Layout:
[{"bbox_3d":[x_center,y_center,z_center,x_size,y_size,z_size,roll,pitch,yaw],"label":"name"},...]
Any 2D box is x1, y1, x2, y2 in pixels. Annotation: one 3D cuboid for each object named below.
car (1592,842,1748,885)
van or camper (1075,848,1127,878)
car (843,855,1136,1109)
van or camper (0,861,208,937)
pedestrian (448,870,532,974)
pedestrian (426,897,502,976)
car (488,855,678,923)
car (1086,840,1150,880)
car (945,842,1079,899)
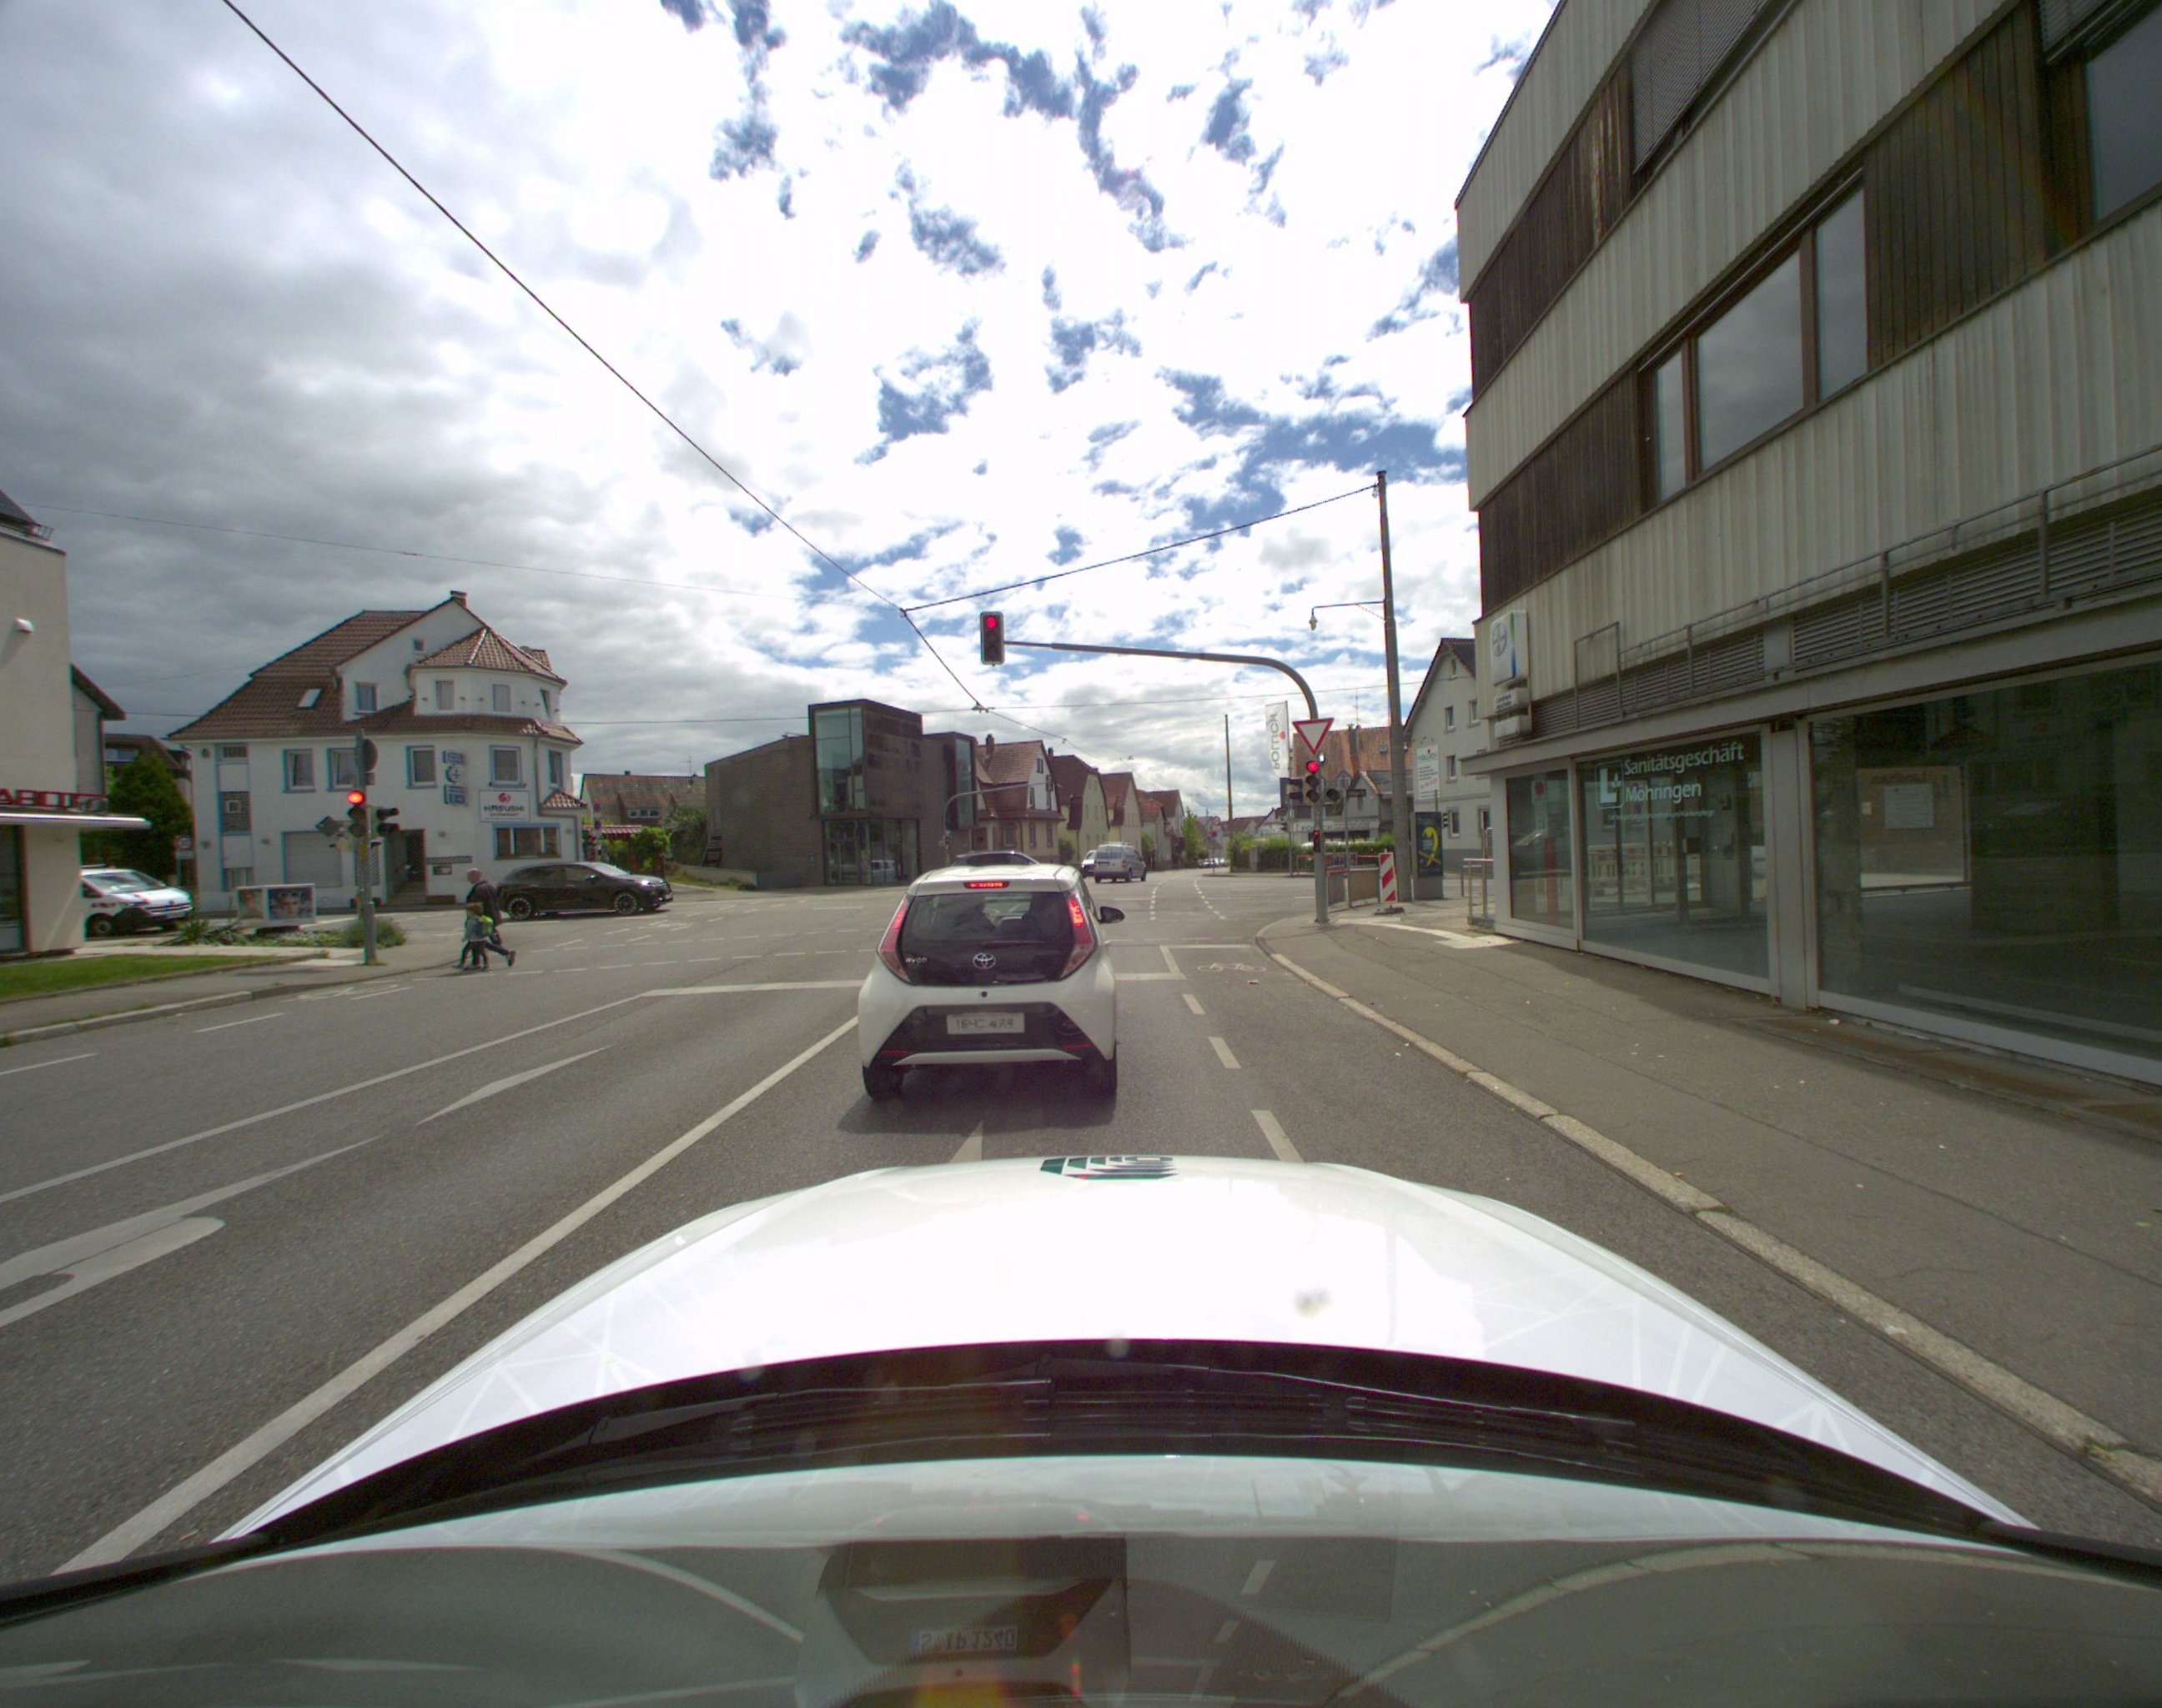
[{"bbox_3d":[23.069,0.350,32.000,4.891,1.577,1.996,-1,0,-6],"label":"car"},{"bbox_3d":[1.405,0.570,53.764,2.099,1.926,5.309,-1,0,17],"label":"van or camper"},{"bbox_3d":[-0.536,0.754,6.456,1.692,1.456,3.298,-1,0,0],"label":"car"},{"bbox_3d":[-29.384,1.266,23.818,5.113,2.077,1.995,0,0,-8],"label":"van or camper"},{"bbox_3d":[-10.340,1.168,14.276,0.820,1.721,0.816,-2,0,-4],"label":"pedestrian"},{"bbox_3d":[-10.244,1.358,13.541,0.732,1.221,0.644,-2,0,-6],"label":"pedestrian"},{"bbox_3d":[-15.315,1.043,25.283,4.495,1.742,1.996,-2,2,-7],"label":"car"},{"bbox_3d":[1.885,0.288,40.177,1.977,1.849,4.093,-1,0,20],"label":"car"},{"bbox_3d":[-2.339,0.525,27.322,4.291,1.675,1.994,-2,0,-9],"label":"car"}]
